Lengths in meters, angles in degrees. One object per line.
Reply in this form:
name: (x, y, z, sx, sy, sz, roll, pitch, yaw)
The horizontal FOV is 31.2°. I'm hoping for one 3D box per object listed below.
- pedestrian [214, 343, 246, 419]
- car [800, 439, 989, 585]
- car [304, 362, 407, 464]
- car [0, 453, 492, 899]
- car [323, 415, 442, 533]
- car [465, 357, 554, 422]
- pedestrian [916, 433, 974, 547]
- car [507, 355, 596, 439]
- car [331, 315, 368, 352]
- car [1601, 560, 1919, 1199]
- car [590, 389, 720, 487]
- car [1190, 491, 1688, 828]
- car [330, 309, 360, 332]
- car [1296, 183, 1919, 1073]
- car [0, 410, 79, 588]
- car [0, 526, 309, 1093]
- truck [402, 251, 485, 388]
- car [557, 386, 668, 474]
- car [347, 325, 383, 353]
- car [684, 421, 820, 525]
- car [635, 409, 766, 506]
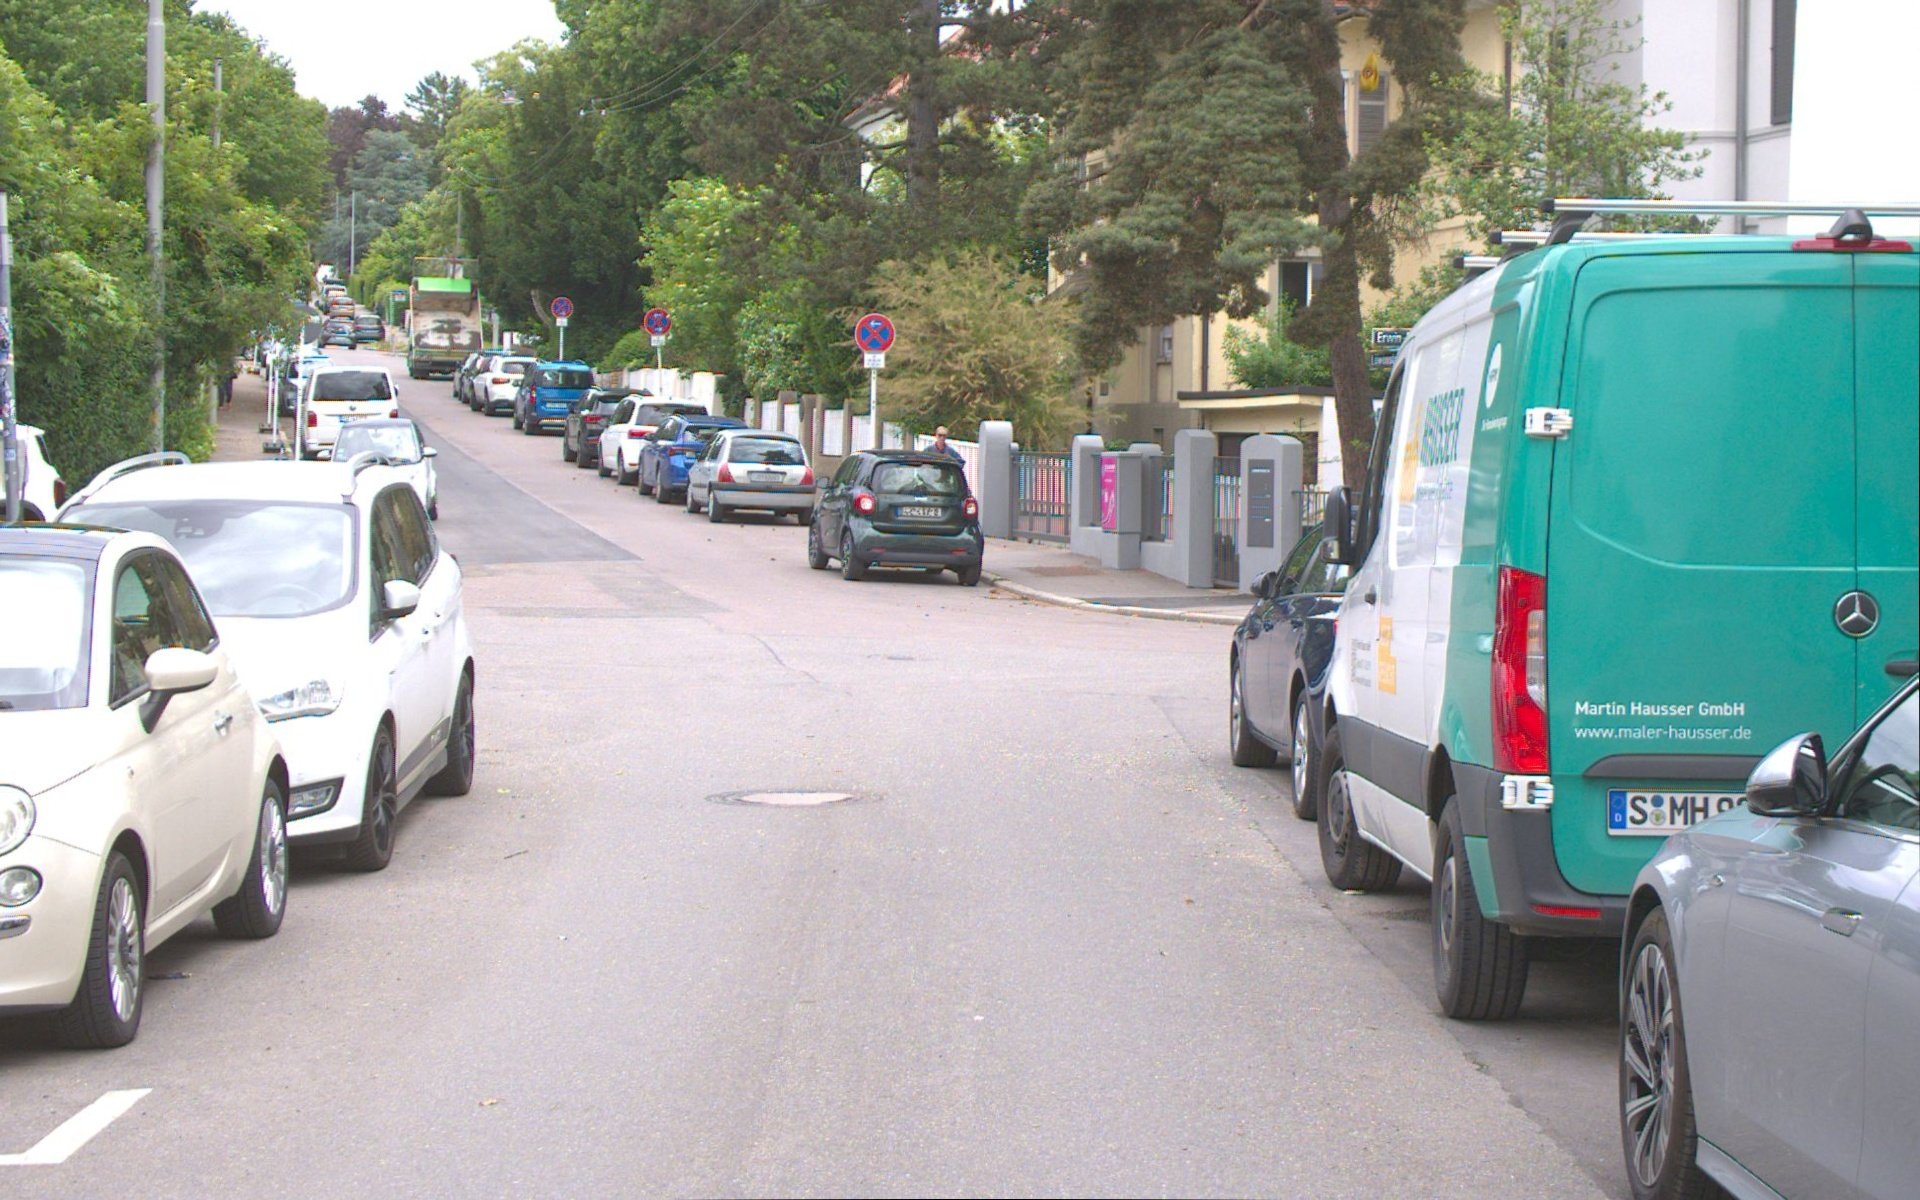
pedestrian: (-19.764, -5.936, 93.096, 0.811, 2.006, 0.860, 1, 5, -11)
car: (-0.825, -1.091, 41.600, 1.571, 1.526, 2.869, 3, 4, -15)
car: (-12.273, -3.824, 69.654, 1.854, 1.906, 4.622, -2, 5, -12)
car: (-3.221, 0.204, 15.207, 1.804, 1.653, 4.152, 0, 3, -1)
car: (-8.469, -1.883, 50.591, 1.442, 1.546, 2.771, -2, 5, -5)
car: (-12.492, -5.839, 95.095, 1.757, 1.600, 4.578, 1, 5, -16)
pedestrian: (-0.214, -1.556, 48.448, 0.681, 1.571, 0.907, -2, 3, -6)
car: (-10.071, -5.016, 84.633, 1.682, 1.822, 4.159, 2, 5, -13)
car: (-30.549, -13.340, 171.850, 1.633, 1.695, 3.496, 1, 5, -13)
car: (2.360, 0.702, 5.508, 1.824, 1.440, 4.383, 2, 1, 0)
car: (-5.792, -3.081, 64.825, 1.784, 1.597, 4.307, 2, 4, -13)
car: (2.361, 0.211, 18.051, 1.818, 1.480, 4.287, 1, 3, -2)
car: (-42.144, -19.162, 235.587, 1.809, 1.330, 3.634, 2, 6, -13)
car: (2.428, 0.017, 11.983, 1.993, 2.414, 5.293, 0, 1, 0)
car: (-10.585, -1.009, 31.606, 1.833, 1.649, 4.503, 5, 3, 42)
car: (-3.200, 0.538, 10.861, 1.607, 1.448, 3.614, -2, 2, -1)
truck: (-18.834, -10.234, 125.003, 2.523, 4.731, 7.191, 1, 5, -11)
car: (-7.158, -3.510, 70.584, 1.749, 1.602, 4.078, 2, 4, -12)
car: (-33.451, -14.666, 193.118, 1.778, 1.483, 4.002, 0, 5, -13)
car: (-3.278, -2.003, 53.635, 1.573, 1.395, 3.657, 2, 4, -12)
car: (-4.432, -2.439, 58.276, 1.647, 1.453, 4.054, 2, 4, -12)
